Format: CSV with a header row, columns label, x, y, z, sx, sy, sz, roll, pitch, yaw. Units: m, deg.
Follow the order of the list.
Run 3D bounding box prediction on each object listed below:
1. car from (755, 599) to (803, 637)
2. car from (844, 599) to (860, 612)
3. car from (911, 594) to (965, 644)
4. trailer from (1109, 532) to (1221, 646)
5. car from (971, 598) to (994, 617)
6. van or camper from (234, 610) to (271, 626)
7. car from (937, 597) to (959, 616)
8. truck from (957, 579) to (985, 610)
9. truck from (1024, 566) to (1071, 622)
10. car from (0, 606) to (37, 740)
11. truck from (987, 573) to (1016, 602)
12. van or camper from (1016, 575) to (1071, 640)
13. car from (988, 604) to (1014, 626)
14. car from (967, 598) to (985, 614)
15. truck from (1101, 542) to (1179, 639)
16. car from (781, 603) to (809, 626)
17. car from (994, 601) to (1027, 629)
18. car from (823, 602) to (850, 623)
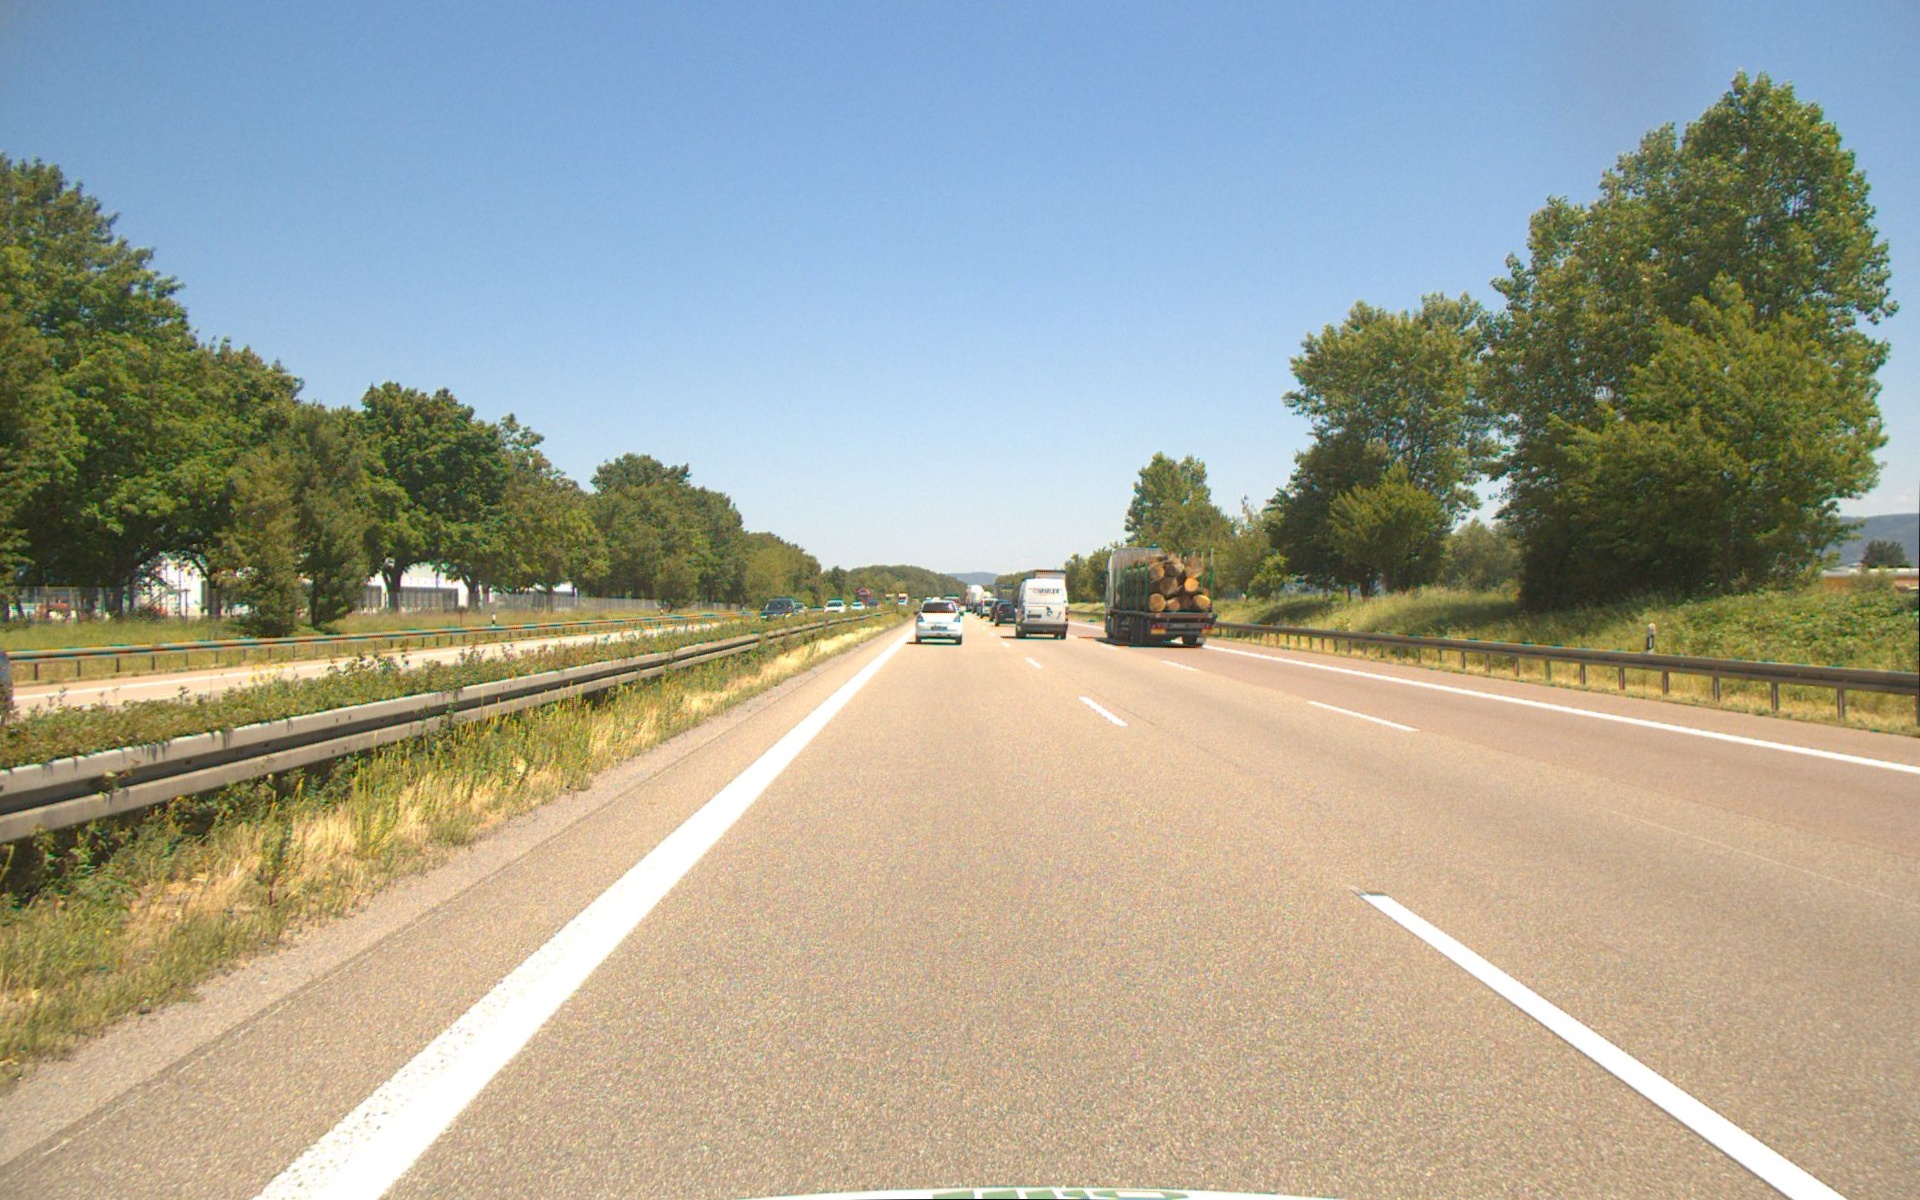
label,x,y,z,sx,sy,sz,roll,pitch,yaw
car,-9.693,0.936,88.819,1.953,1.919,5.647,2,0,-1
car,-14.947,0.786,229.728,1.953,1.668,4.857,-3,0,-1
car,-0.826,0.665,59.212,1.820,1.681,3.998,2,0,-2
trailer,7.887,-0.389,65.548,2.599,4.028,13.634,1,0,0
car,2.038,0.705,151.227,1.820,1.681,3.998,1,0,-2
van or camper,-79.689,2.043,186.345,1.953,1.681,5.019,-1,0,0
car,-1.059,0.572,145.187,1.820,1.681,3.998,1,0,-2
truck,1.605,-0.779,246.594,3.192,4.282,16.833,2,0,-3
truck,7.160,-0.409,137.665,3.016,4.282,16.842,2,0,0
car,-12.404,0.891,18.614,1.756,1.606,4.210,-1,0,-2
truck,6.315,-1.903,256.938,3.192,4.282,16.833,2,0,-3
van or camper,3.586,0.323,72.023,2.016,2.668,5.984,1,0,0
car,3.192,1.204,130.483,1.820,1.681,3.998,1,0,-2
car,1.764,0.682,181.653,1.820,1.681,3.998,1,0,-2
truck,7.829,-0.397,72.846,2.615,4.064,6.635,1,0,0
car,-13.722,1.164,137.661,1.834,1.825,4.423,2,0,-1
car,3.187,0.939,104.287,1.820,1.681,3.998,1,0,-2
car,-10.601,1.079,142.145,1.953,1.668,4.572,2,0,-1
